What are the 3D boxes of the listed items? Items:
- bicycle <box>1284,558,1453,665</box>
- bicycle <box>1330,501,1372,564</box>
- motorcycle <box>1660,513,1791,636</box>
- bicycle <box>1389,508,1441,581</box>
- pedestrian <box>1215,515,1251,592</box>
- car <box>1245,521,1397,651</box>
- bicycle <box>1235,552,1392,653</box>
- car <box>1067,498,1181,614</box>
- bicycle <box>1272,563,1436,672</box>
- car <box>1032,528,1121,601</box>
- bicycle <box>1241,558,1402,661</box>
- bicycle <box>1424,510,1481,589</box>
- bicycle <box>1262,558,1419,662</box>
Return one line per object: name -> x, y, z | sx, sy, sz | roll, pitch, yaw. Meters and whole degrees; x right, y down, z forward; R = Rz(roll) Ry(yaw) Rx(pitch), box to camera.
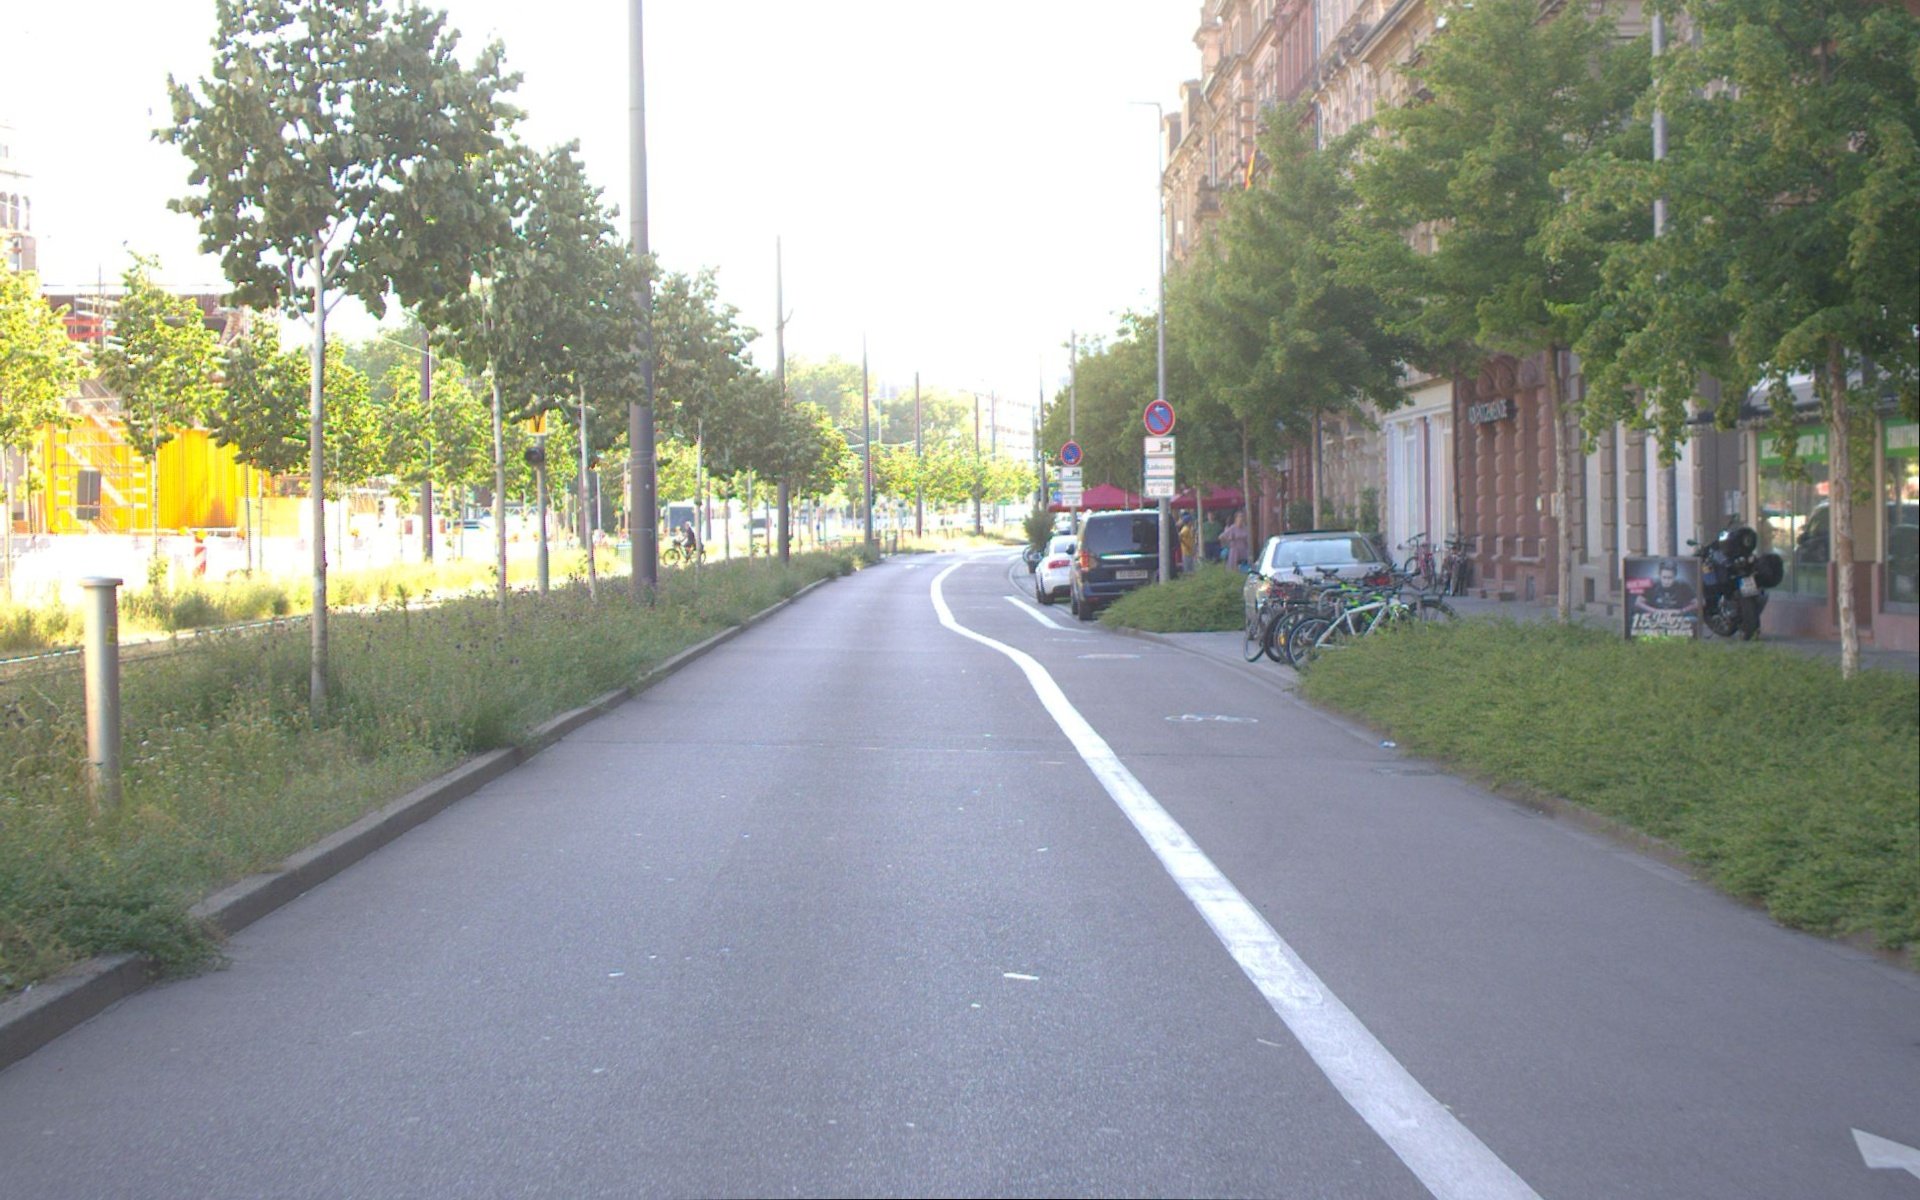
bicycle -> 4.360, 0.118, 36.727 | 1.691, 1.044, 0.489 | -3, 2, -8
bicycle -> 9.058, -1.570, 79.703 | 0.661, 1.397, 2.353 | -1, 2, -1
motorcycle -> 8.902, -0.321, 40.074 | 0.795, 1.304, 2.852 | -3, 2, -1
bicycle -> 9.036, -1.119, 68.331 | 0.661, 1.397, 2.353 | -1, 2, -1
pedestrian -> 5.214, -0.890, 65.630 | 0.625, 1.455, 0.638 | -1, 1, -1
car -> 4.705, -0.226, 45.236 | 1.637, 1.481, 4.212 | -3, 2, 2
bicycle -> 4.067, 0.026, 39.595 | 1.691, 1.044, 0.489 | -4, 1, 0
car -> 2.912, -0.824, 61.840 | 1.885, 1.930, 4.473 | -1, 2, 1
bicycle -> 4.058, 0.174, 35.436 | 1.576, 1.044, 0.489 | -3, 2, -8
car -> 2.516, -0.800, 75.256 | 1.849, 1.452, 4.156 | -1, 2, 1
bicycle -> 4.040, 0.105, 38.417 | 1.691, 1.044, 0.489 | -3, 1, 0
bicycle -> 9.136, -0.944, 63.871 | 0.661, 1.397, 2.353 | -1, 2, -1
bicycle -> 4.119, 0.101, 37.263 | 1.576, 1.044, 0.489 | -3, 2, -8
